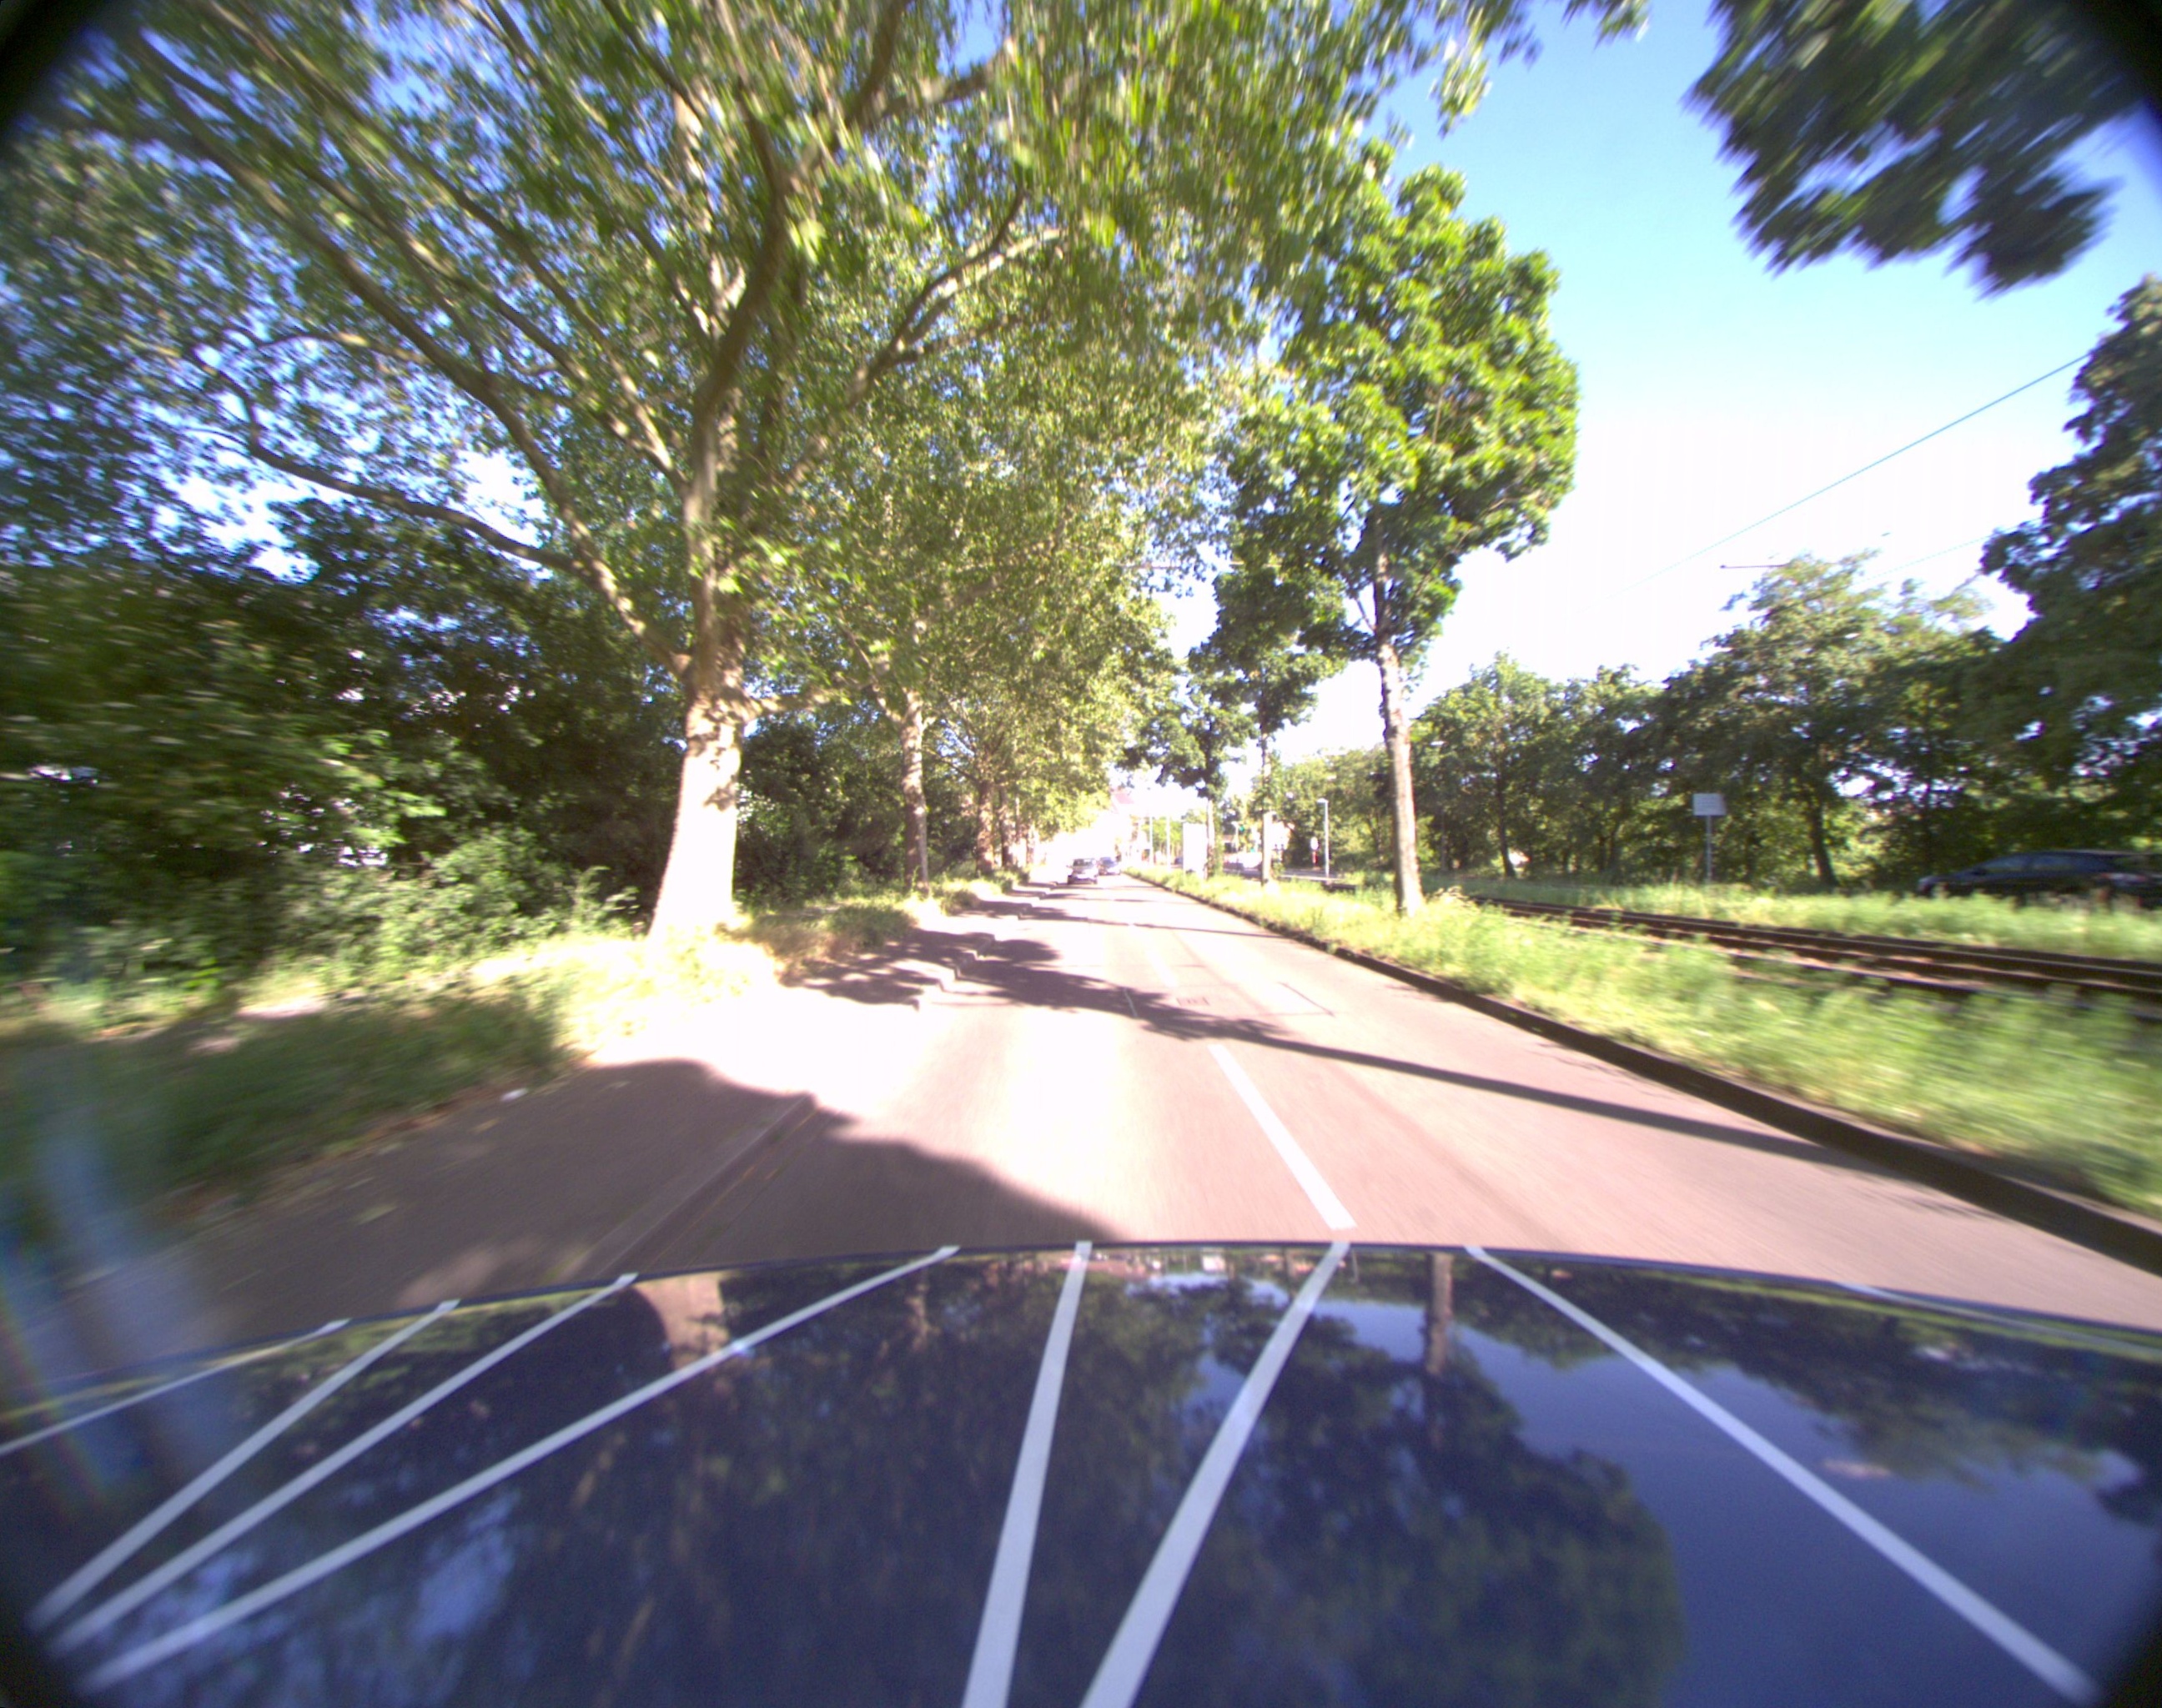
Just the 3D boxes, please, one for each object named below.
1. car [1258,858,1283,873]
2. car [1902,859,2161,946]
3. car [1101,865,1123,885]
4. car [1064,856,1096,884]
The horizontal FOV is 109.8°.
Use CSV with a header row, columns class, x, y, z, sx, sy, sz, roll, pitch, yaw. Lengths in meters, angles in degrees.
class,x,y,z,sx,sy,sz,roll,pitch,yaw
car,19.923,1.168,80.162,1.640,1.486,4.592,1,1,2
car,21.458,0.955,16.941,1.772,1.554,4.282,-2,1,3
car,2.604,1.756,65.042,1.714,1.478,3.547,-3,1,1
car,-0.059,0.905,45.531,1.808,1.478,3.546,-3,1,0
